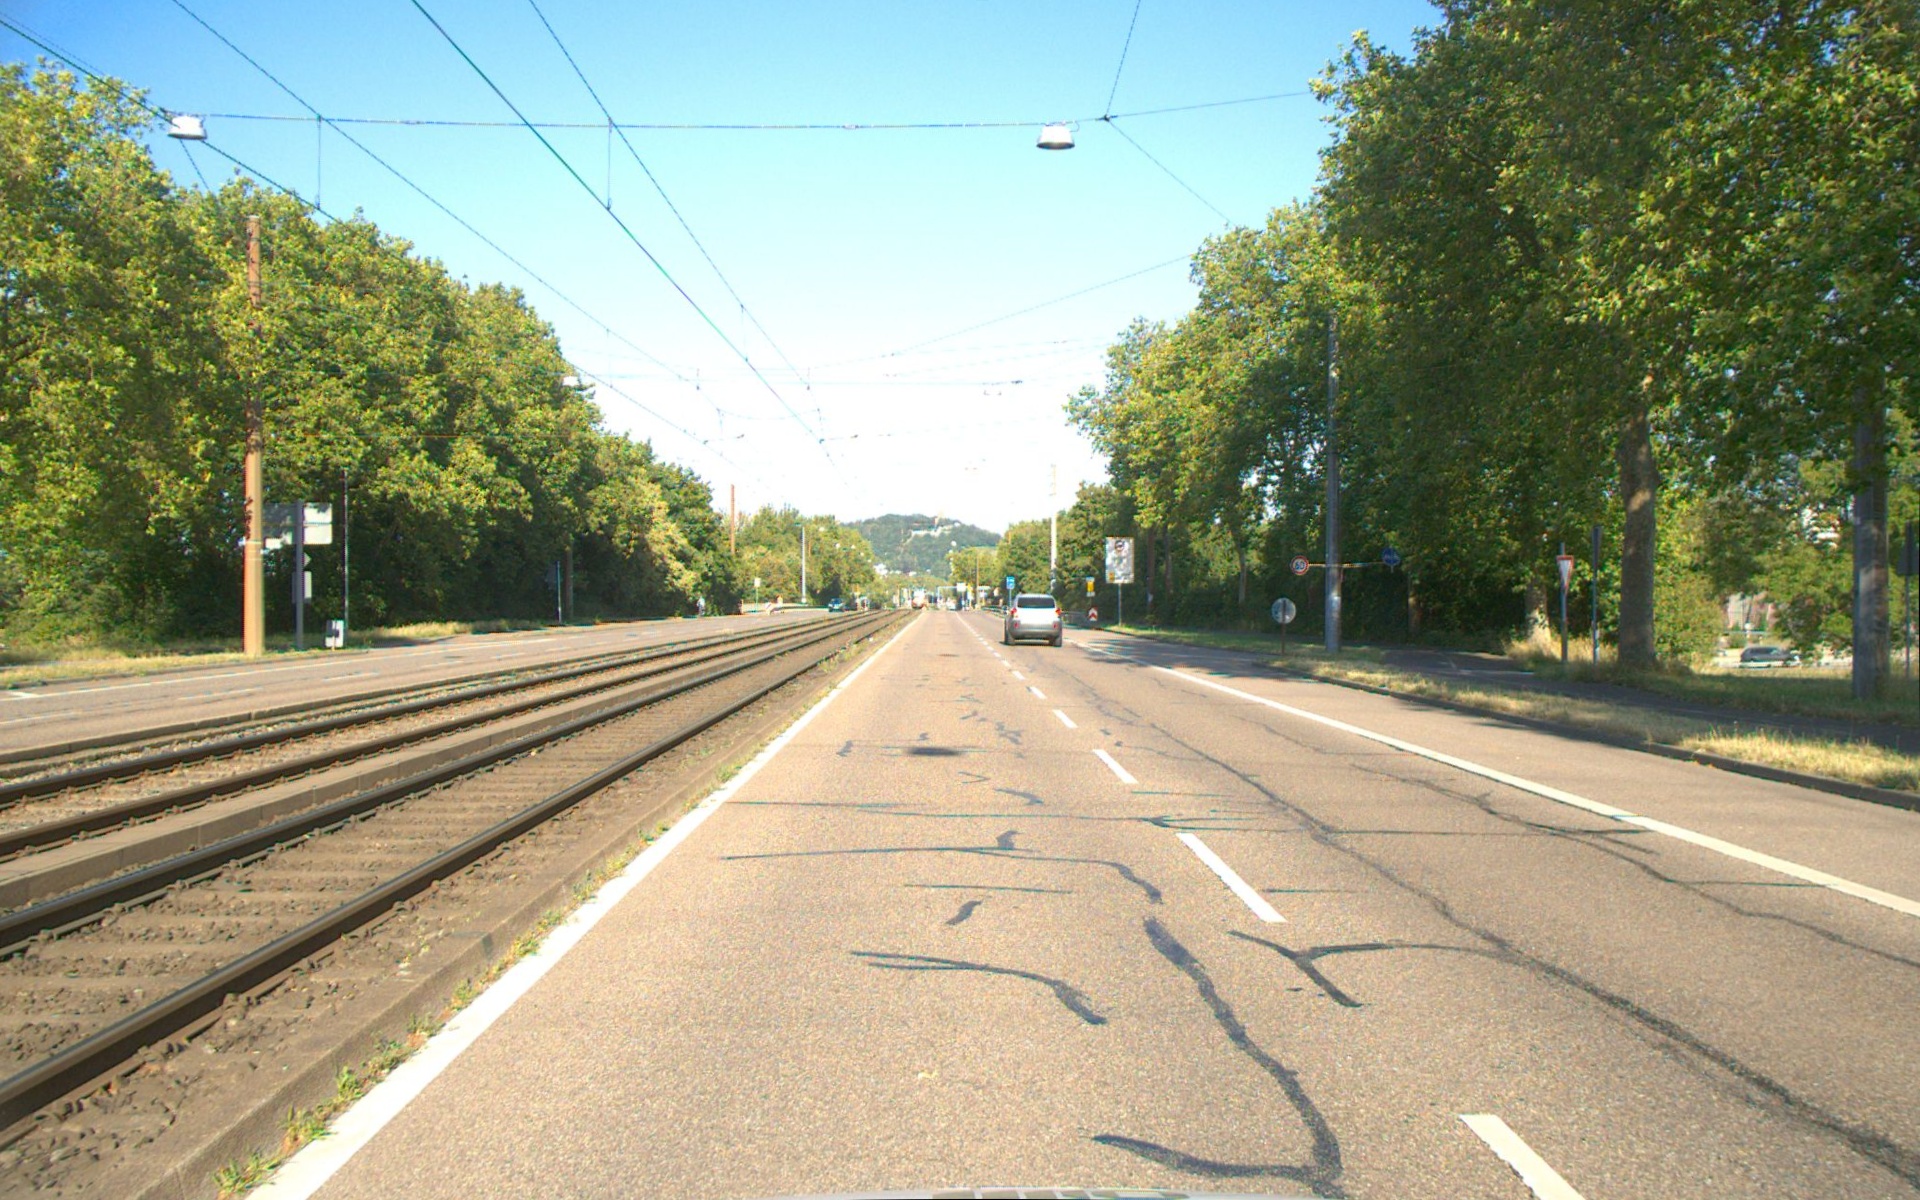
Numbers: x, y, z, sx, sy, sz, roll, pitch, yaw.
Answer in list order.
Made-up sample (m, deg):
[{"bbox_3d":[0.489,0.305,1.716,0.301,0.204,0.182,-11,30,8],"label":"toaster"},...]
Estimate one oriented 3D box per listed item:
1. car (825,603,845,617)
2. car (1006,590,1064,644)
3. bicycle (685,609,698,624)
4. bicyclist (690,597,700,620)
[{"bbox_3d":[-15.666,1.207,207.520,1.952,1.715,4.797,-1,-1,2],"label":"car"},{"bbox_3d":[2.492,0.560,55.695,1.849,1.723,4.257,1,0,2],"label":"car"},{"bbox_3d":[-20.750,1.274,127.805,0.539,1.003,2.238,2,-3,2],"label":"bicycle"},{"bbox_3d":[-20.567,0.669,128.290,0.539,1.720,0.820,2,-3,3],"label":"bicyclist"}]
